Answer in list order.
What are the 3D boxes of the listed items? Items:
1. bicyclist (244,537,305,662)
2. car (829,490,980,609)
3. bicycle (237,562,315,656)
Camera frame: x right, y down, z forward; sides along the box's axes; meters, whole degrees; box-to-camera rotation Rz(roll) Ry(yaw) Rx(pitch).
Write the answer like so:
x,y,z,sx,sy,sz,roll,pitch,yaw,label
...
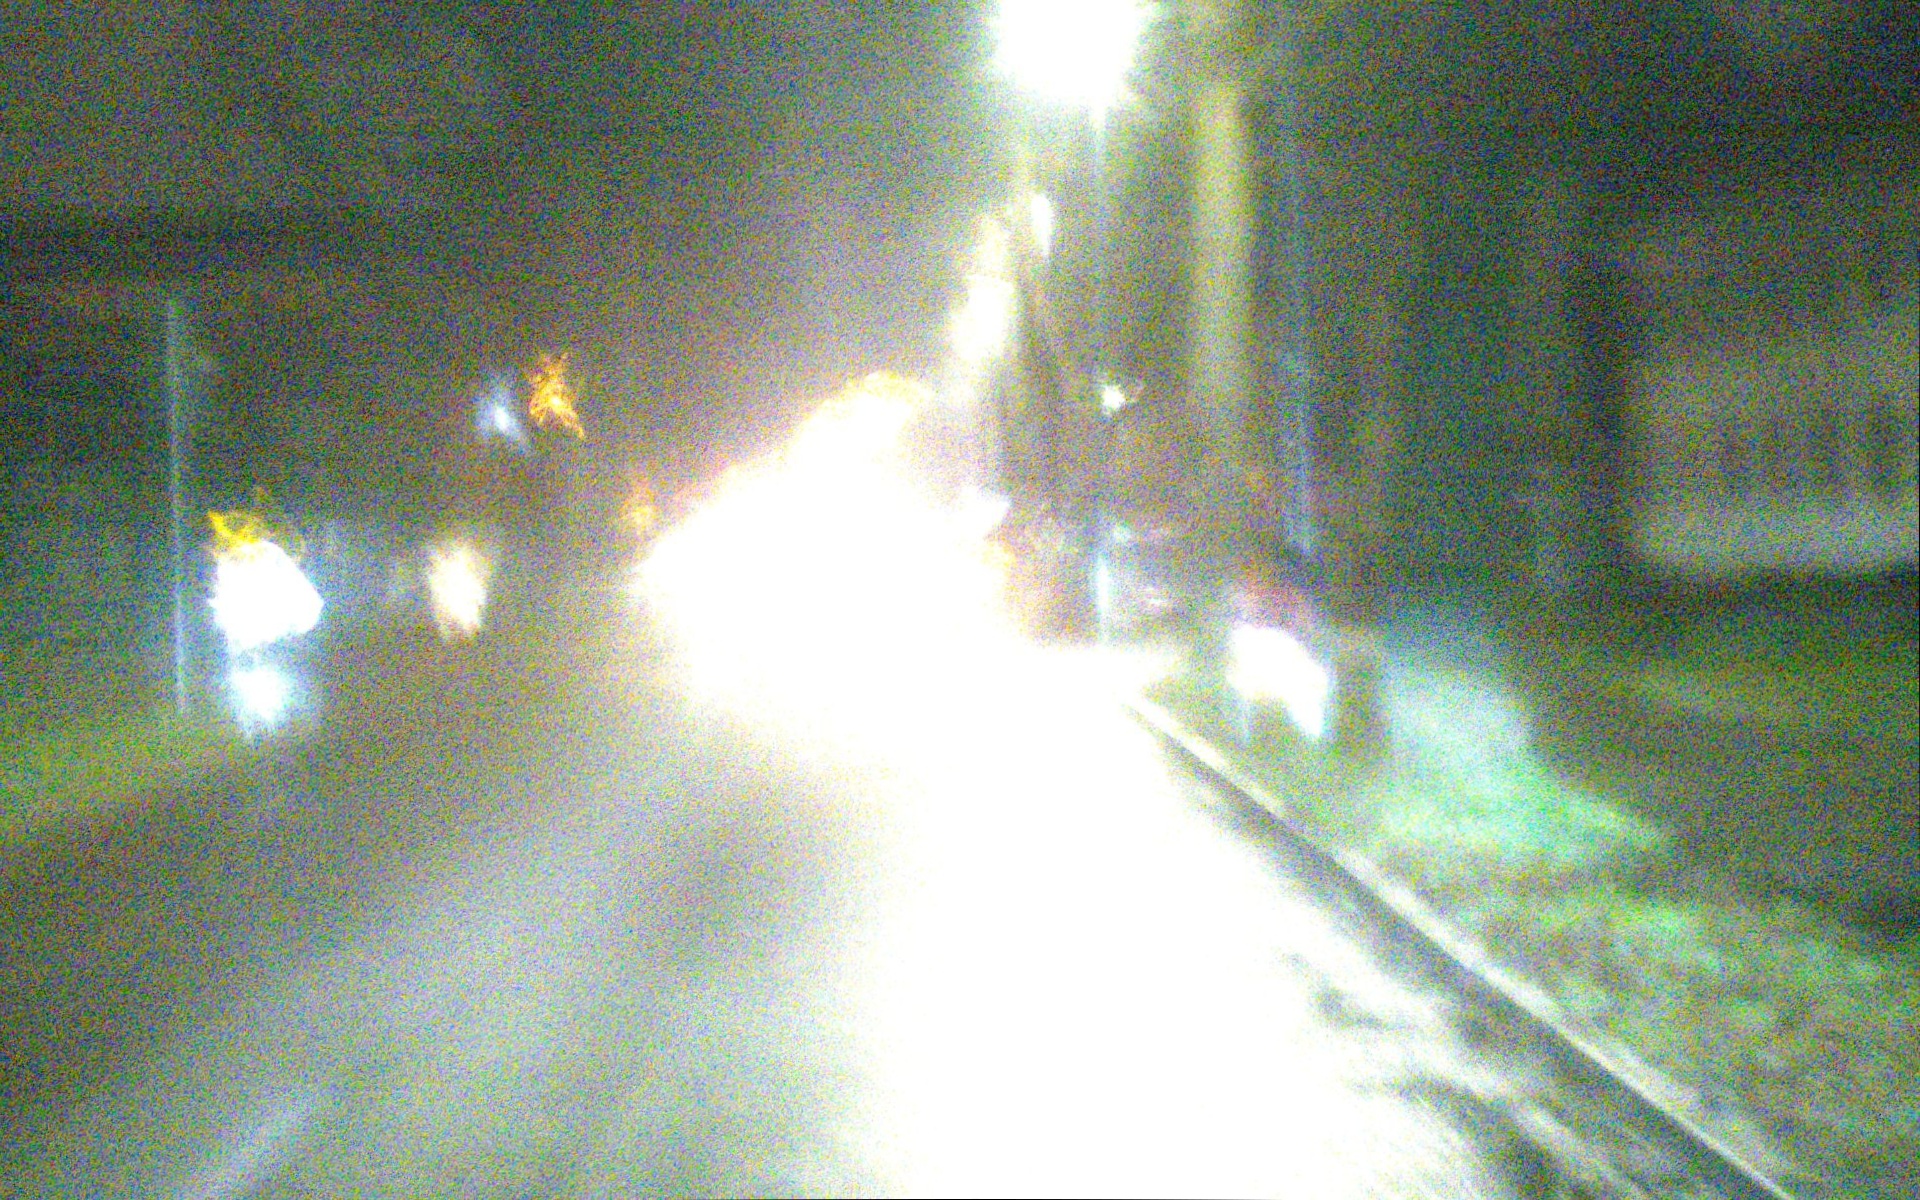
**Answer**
x,y,z,sx,sy,sz,roll,pitch,yaw,label
-9.011,-0.011,45.228,0.636,1.589,0.960,1,3,-2,bicyclist
-0.872,-0.757,51.505,1.993,1.678,4.001,1,1,-5,car
-9.031,0.101,45.431,0.630,1.157,2.314,0,2,-2,bicycle
